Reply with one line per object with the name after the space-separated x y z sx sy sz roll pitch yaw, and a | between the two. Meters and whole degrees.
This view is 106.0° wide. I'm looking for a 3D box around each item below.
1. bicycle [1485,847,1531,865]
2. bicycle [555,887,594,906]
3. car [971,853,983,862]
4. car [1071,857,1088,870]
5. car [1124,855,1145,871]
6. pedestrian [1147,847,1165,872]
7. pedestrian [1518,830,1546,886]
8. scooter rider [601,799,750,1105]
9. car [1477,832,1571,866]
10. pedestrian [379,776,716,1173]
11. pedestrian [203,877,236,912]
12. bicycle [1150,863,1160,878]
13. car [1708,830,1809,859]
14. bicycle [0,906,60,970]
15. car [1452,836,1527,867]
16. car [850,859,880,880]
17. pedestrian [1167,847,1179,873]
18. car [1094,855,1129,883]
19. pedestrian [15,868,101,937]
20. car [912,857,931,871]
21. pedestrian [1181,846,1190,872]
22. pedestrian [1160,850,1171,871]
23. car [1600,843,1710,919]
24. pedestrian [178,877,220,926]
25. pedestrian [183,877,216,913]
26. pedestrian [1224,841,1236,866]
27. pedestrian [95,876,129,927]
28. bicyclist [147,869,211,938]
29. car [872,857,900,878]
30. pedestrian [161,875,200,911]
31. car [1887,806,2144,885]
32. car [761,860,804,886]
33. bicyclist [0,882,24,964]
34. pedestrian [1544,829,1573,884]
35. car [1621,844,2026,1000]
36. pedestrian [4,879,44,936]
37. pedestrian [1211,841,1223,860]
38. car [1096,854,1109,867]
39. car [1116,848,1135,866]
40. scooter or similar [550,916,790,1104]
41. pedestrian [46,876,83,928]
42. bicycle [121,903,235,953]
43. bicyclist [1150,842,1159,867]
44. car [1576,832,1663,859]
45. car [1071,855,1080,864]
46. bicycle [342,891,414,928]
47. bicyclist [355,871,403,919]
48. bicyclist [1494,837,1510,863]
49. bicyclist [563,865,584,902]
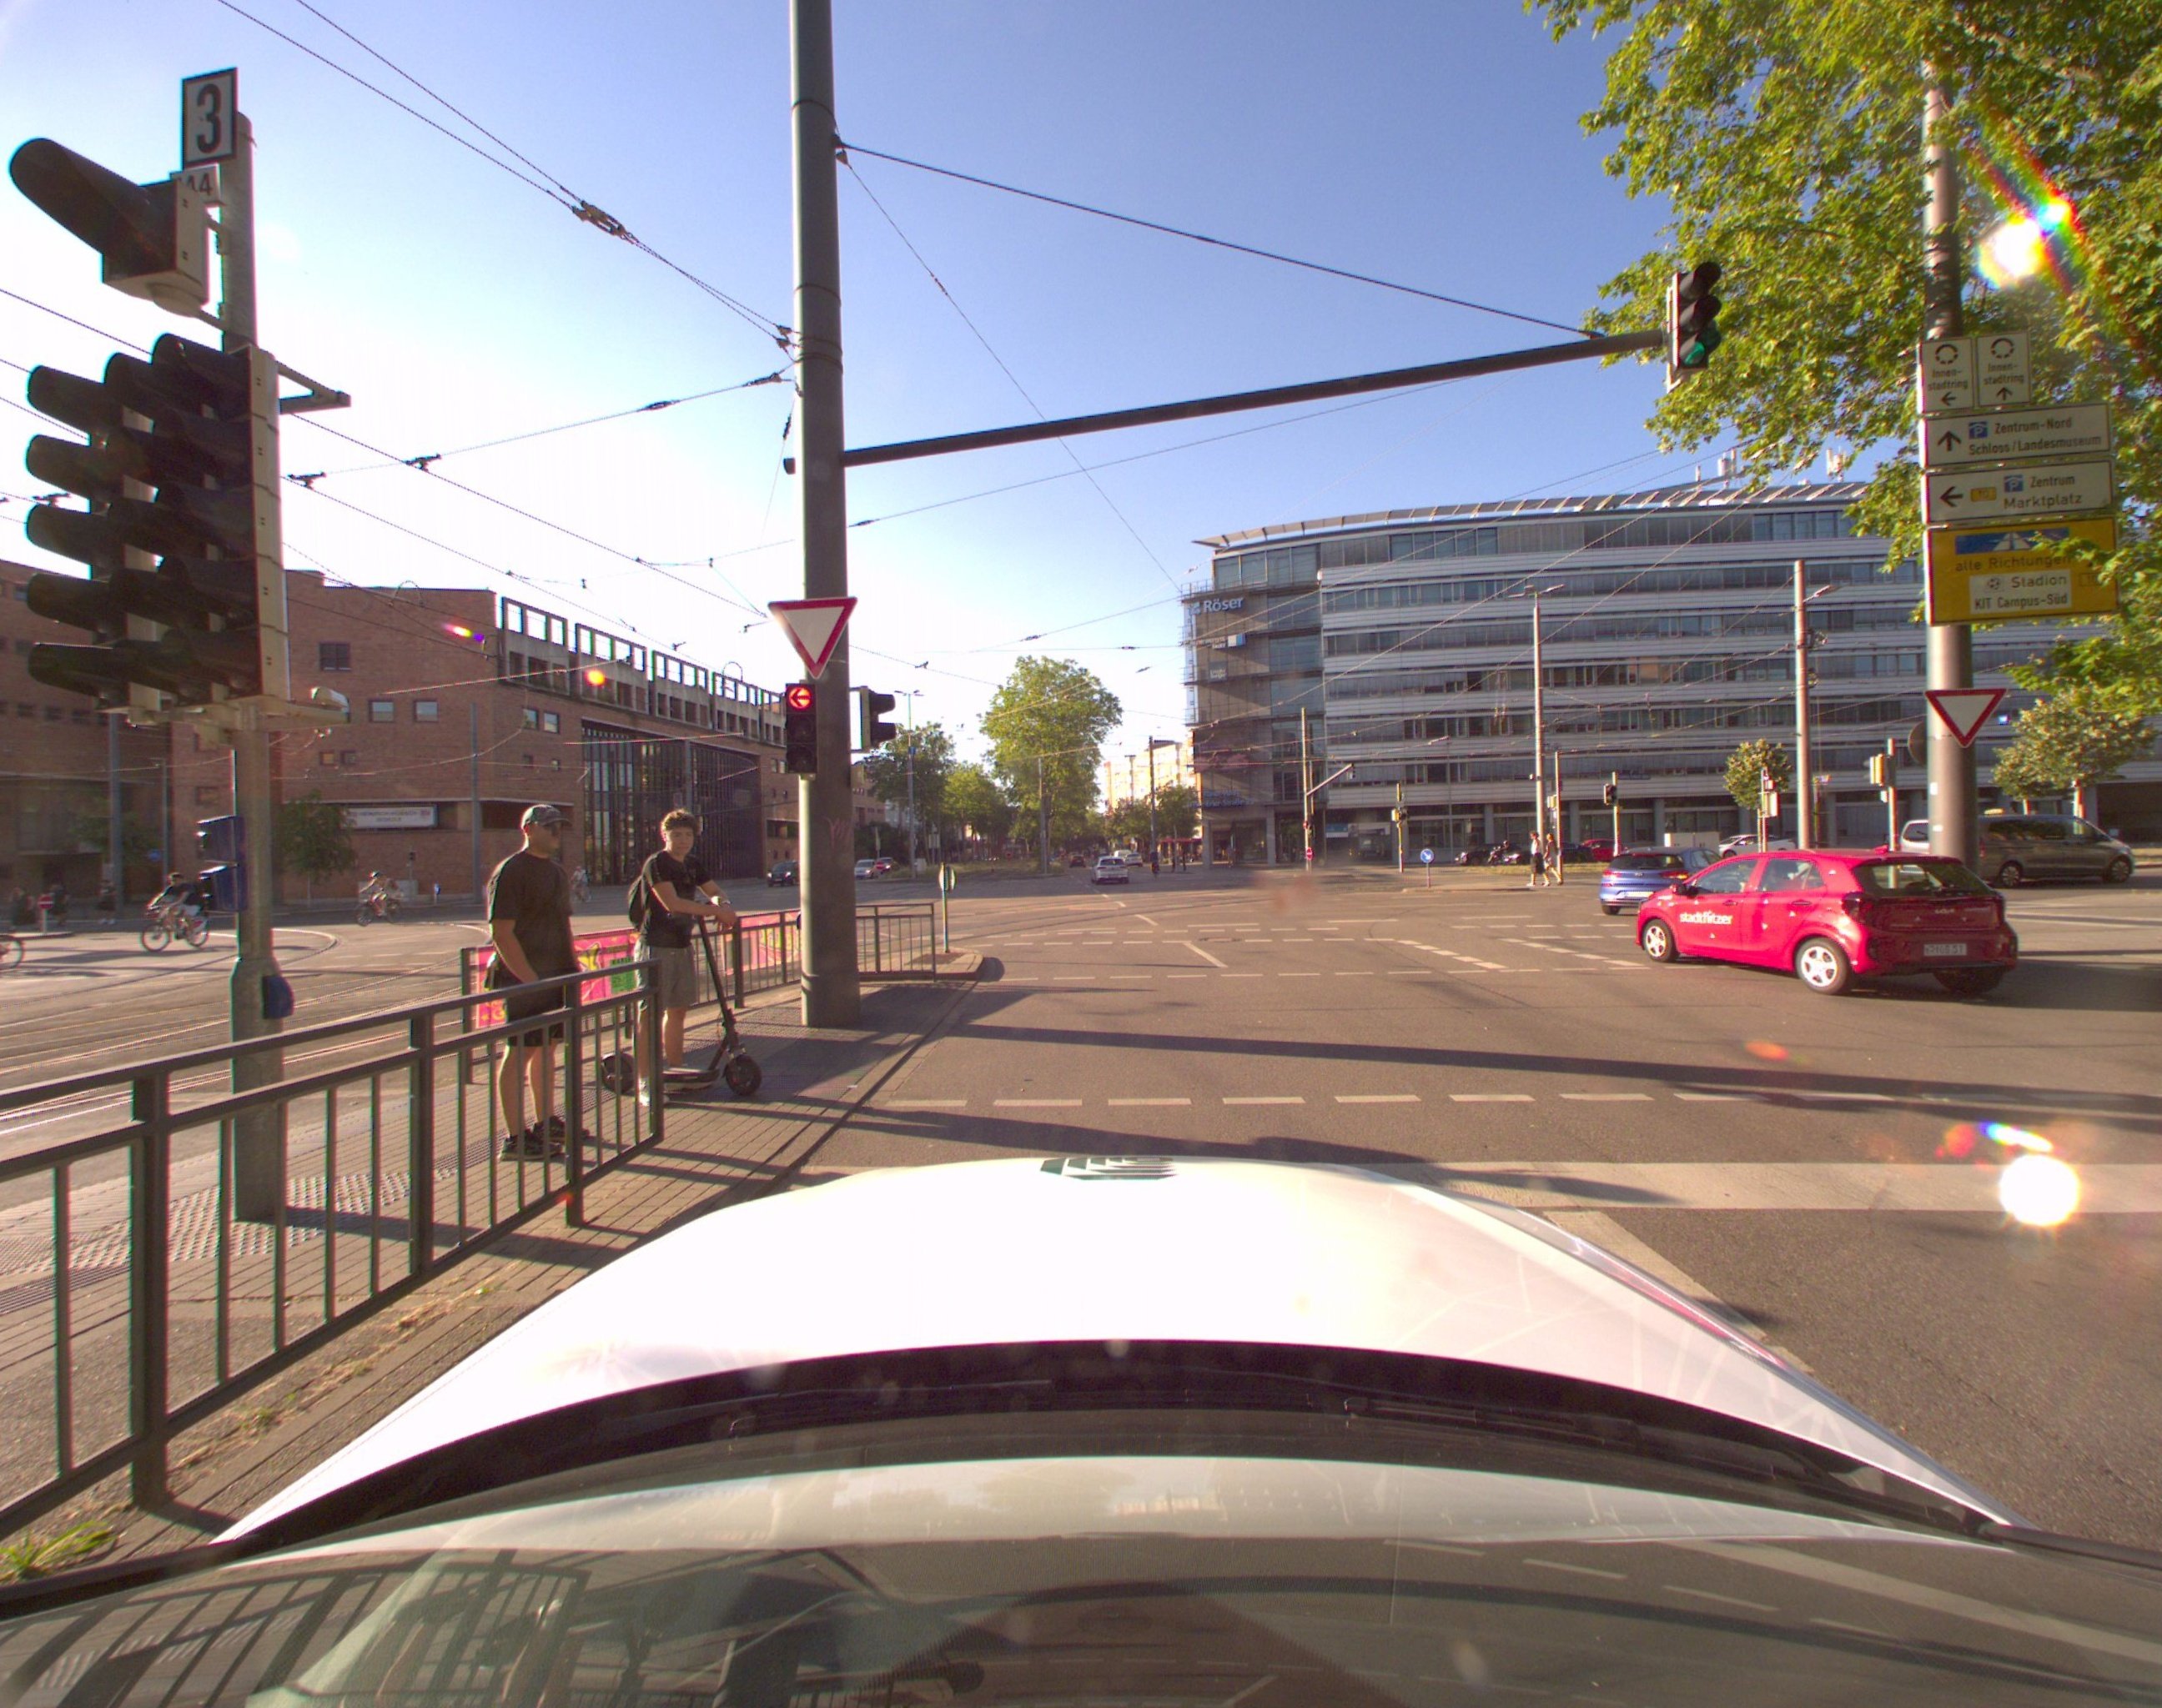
25.698 0.129 49.041 2.397 1.022 0.638 -2 0 6 | bicycle
-23.121 1.920 37.180 0.588 0.771 1.966 -2 0 -2 | bicycle
-24.720 0.895 192.917 1.867 2.013 4.477 -2 0 4 | car
-0.243 1.064 91.476 1.759 1.404 4.293 -1 0 -2 | car
5.440 0.945 82.898 2.022 1.596 4.001 0 -1 2 | car
6.099 0.425 66.063 1.337 1.950 1.011 -2 -1 1 | pedestrian
14.669 0.125 26.497 0.732 1.759 0.684 -2 0 28 | pedestrian
-2.633 0.609 5.333 0.563 1.853 0.681 -2 -2 6 | scooter rider
25.053 -0.271 46.194 4.234 1.723 1.886 -2 0 4 | car
-2.773 0.589 4.349 1.161 1.884 0.856 -2 0 6 | pedestrian
-51.353 2.400 48.562 1.003 2.052 0.850 -2 0 -1 | pedestrian
4.362 0.965 48.140 0.489 0.788 1.863 -1 1 2 | bicycle
37.570 -0.508 45.251 3.968 1.596 1.884 0 -1 5 | car
-21.275 1.693 15.613 0.683 1.142 2.110 -2 2 -1 | bicycle
27.151 -0.163 54.219 3.972 2.014 2.001 0 -1 2 | car
-17.980 1.250 67.893 1.618 1.577 3.994 -2 0 -4 | car
7.200 0.504 63.664 0.846 2.014 0.708 0 -1 1 | pedestrian
1.652 0.756 43.213 1.740 1.418 4.004 -1 0 4 | car
-30.950 1.451 24.667 1.029 2.014 1.208 0 -1 1 | pedestrian
-18.527 1.181 94.683 1.673 1.607 3.994 0 -1 -4 | car
8.034 0.363 62.733 0.584 2.014 0.620 0 -1 2 | pedestrian
6.731 0.523 64.979 0.866 1.707 0.794 0 -1 1 | pedestrian
12.679 0.510 17.885 1.731 1.459 4.239 -1 0 38 | car
-35.412 1.894 32.719 0.721 1.902 0.875 0 -1 -1 | pedestrian
-52.501 2.454 48.503 1.003 2.052 0.850 -2 0 -1 | pedestrian
11.982 -0.027 65.445 0.866 2.014 0.794 0 -2 1 | pedestrian
-39.241 1.902 32.985 0.615 2.013 0.726 -2 0 -28 | pedestrian
-21.597 1.170 19.516 0.660 1.569 0.757 -2 0 -6 | bicyclist
-18.005 1.213 75.257 1.819 1.790 3.994 -2 0 -4 | car
-52.212 2.257 47.208 1.155 2.013 0.910 -2 0 -2 | pedestrian
24.490 -0.223 21.445 4.859 1.896 2.004 -1 0 -6 | car
-21.172 1.303 57.916 1.865 1.762 3.992 0 0 -5 | car
-21.294 1.363 15.715 0.680 1.560 0.758 -2 2 -1 | bicyclist
15.513 0.078 26.464 0.732 1.759 0.690 -2 0 29 | pedestrian
8.262 0.646 9.553 1.485 1.459 3.597 -1 0 0 | car
-38.701 1.934 29.820 0.615 2.013 0.726 -2 0 -29 | pedestrian
15.404 -0.396 92.530 1.305 2.190 1.173 -1 -1 8 | pedestrian
3.308 1.036 126.878 1.986 2.014 4.001 0 -1 2 | car
4.923 0.340 89.853 1.986 2.014 4.001 0 -1 2 | car
-2.648 0.991 5.328 1.196 1.081 0.649 -2 0 5 | scooter or similar
-40.115 1.878 32.144 0.615 2.013 0.726 -2 0 -28 | pedestrian
-21.597 1.746 19.541 0.692 0.998 1.898 -2 0 -5 | bicycle
4.347 0.029 47.991 0.485 1.439 0.616 0 0 1 | bicyclist
32.070 -0.482 48.621 3.966 1.552 1.800 0 -1 6 | car
-1.426 1.417 208.385 1.985 2.015 4.000 0 -8 3 | car
-22.562 1.761 26.193 0.650 1.050 2.010 -1 0 -3 | bicycle
-22.557 1.296 26.182 0.652 1.474 1.031 -1 -1 -3 | bicyclist
25.364 -0.249 49.075 0.660 1.503 0.614 -2 0 7 | bicyclist
-23.140 1.349 37.167 0.585 1.625 0.514 -2 0 -3 | bicyclist
